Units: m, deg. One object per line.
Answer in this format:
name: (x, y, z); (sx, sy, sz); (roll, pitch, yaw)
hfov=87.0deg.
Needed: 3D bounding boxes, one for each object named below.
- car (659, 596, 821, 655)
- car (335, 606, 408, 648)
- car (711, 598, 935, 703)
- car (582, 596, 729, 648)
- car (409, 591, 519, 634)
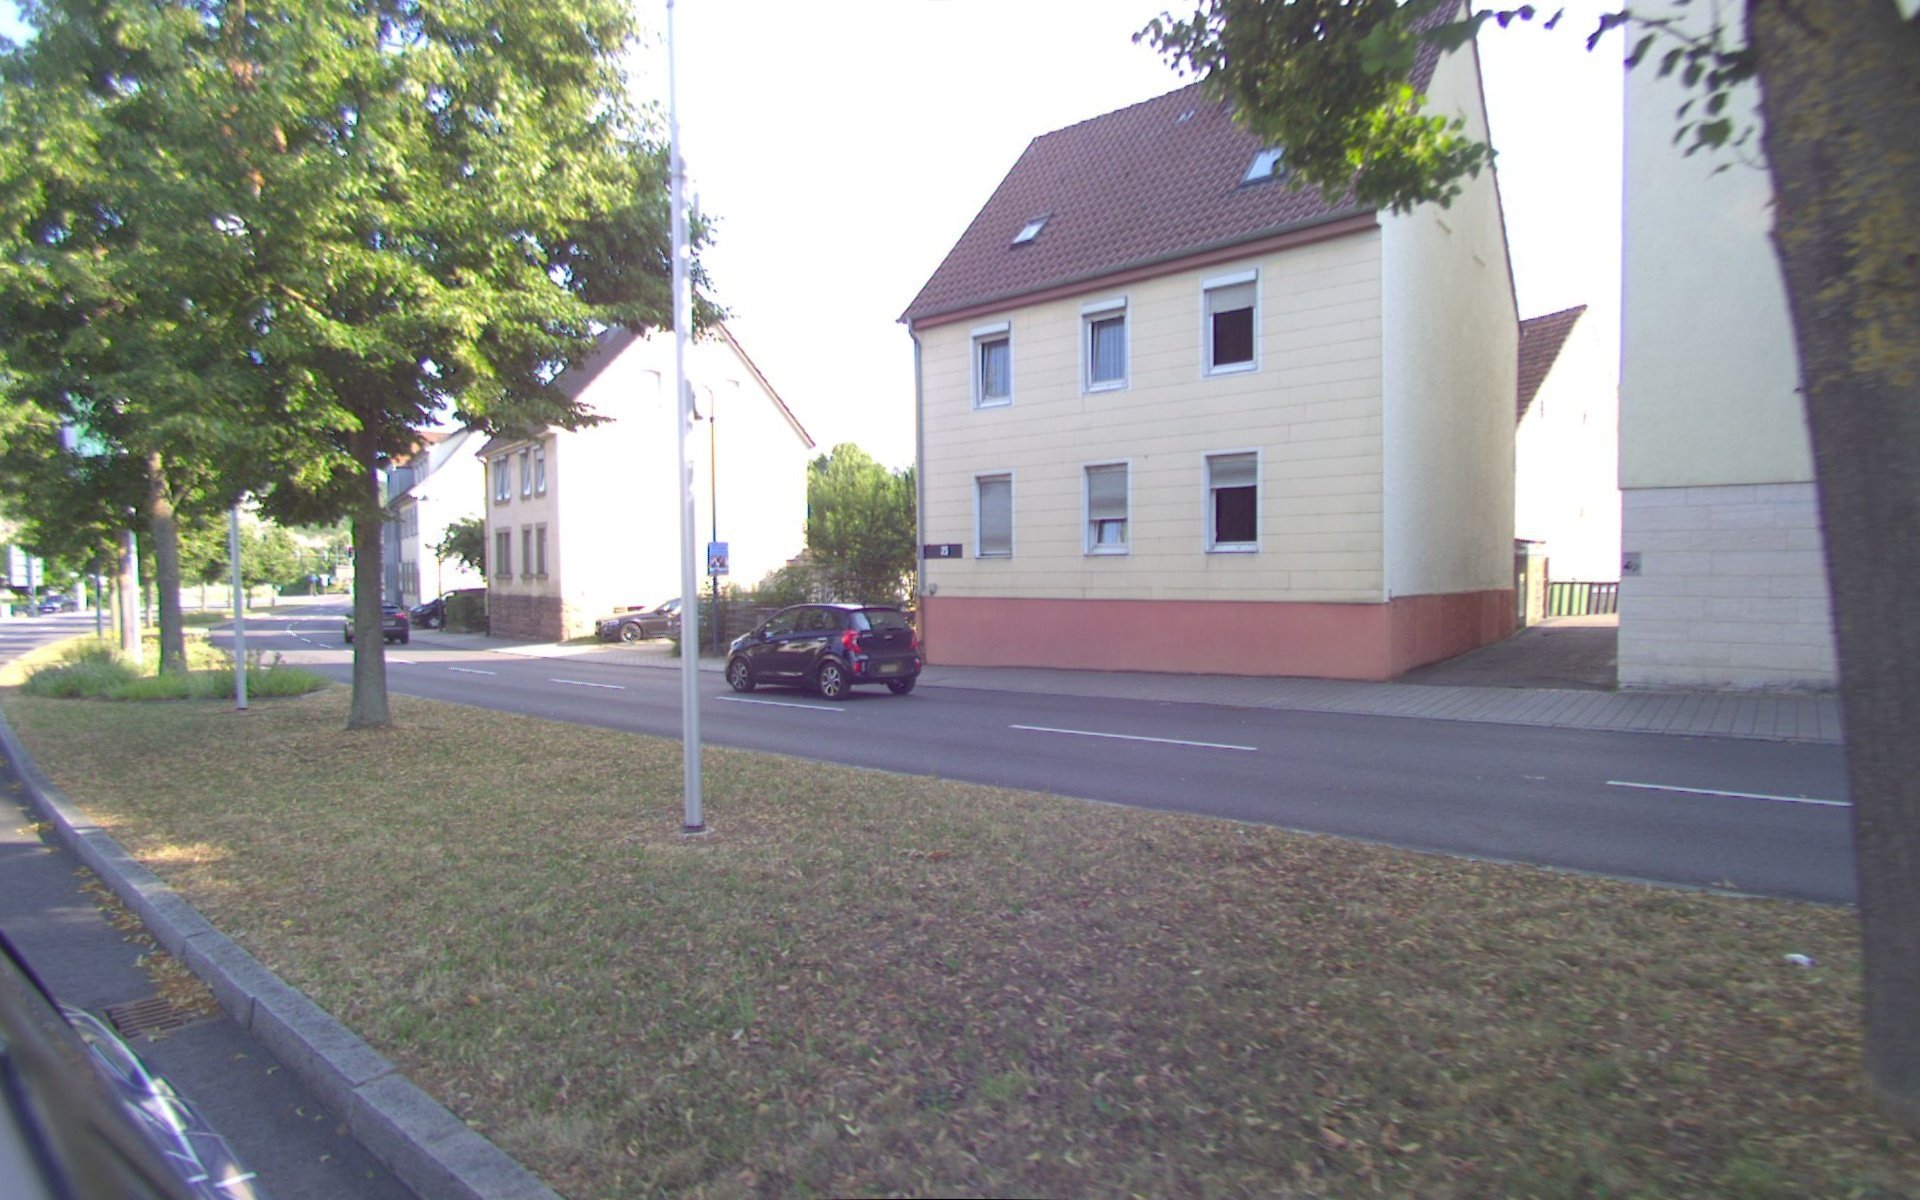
car: (-6.511, 0.710, 29.969); (4.286, 1.497, 1.952); (-2, 1, -28)
car: (-22.928, 1.004, 39.357); (1.915, 1.497, 4.333); (0, 0, -38)
car: (-2.312, 0.745, 16.491); (3.784, 1.497, 1.588); (-1, 0, 43)
car: (-10.082, 0.686, 33.541); (4.286, 1.497, 2.018); (-2, 1, -30)
car: (-25.431, 0.593, 51.938); (4.760, 1.891, 2.005); (-4, 2, -34)
